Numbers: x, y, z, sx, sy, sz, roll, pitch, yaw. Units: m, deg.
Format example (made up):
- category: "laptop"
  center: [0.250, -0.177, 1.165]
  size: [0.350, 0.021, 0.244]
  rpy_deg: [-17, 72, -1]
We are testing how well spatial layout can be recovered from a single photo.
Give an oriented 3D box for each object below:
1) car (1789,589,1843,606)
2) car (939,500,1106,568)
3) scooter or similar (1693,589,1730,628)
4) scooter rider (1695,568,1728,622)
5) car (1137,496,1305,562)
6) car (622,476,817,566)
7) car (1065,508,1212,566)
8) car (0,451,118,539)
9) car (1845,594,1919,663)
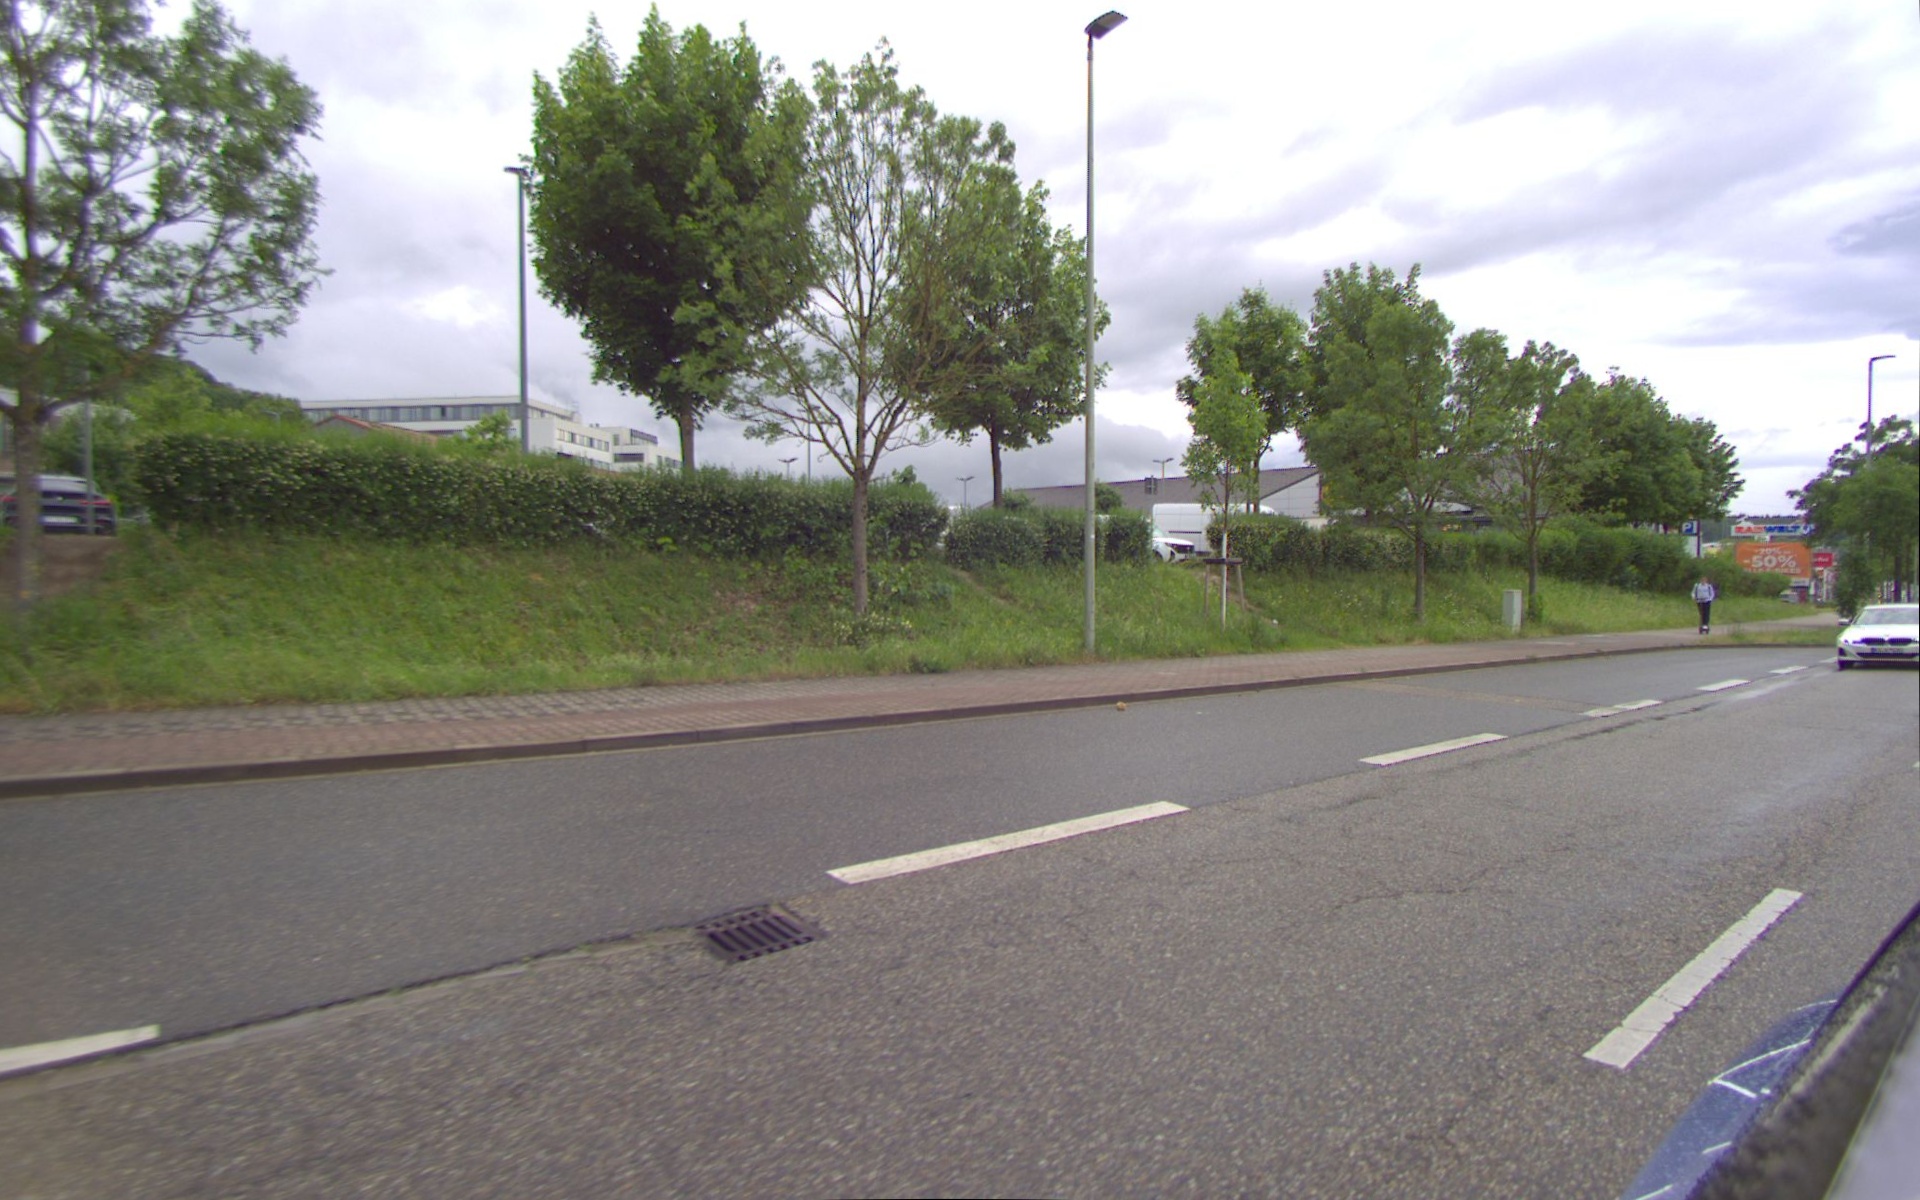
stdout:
- category: "car"
  center: [104.428, -0.315, 123.503]
  size: [1.890, 1.620, 4.672]
  rpy_deg: [1, 4, -37]
- category: "car"
  center: [1.635, -1.824, 27.672]
  size: [4.350, 1.648, 1.898]
  rpy_deg: [6, 5, 44]
- category: "scooter or similar"
  center: [26.159, 0.292, 35.222]
  size: [1.377, 1.279, 0.696]
  rpy_deg: [-1, 3, -42]
- category: "scooter rider"
  center: [26.069, -0.190, 35.116]
  size: [0.843, 1.842, 0.696]
  rpy_deg: [-1, 3, -42]
- category: "car"
  center: [9.513, -2.648, 37.310]
  size: [5.608, 2.167, 2.090]
  rpy_deg: [6, 5, 42]
- category: "car"
  center: [-5.069, -1.662, 20.972]
  size: [4.350, 1.648, 1.898]
  rpy_deg: [6, 5, 44]
- category: "car"
  center: [5.727, -2.069, 32.852]
  size: [4.350, 1.648, 1.898]
  rpy_deg: [6, 5, 44]
- category: "car"
  center: [-19.906, -2.280, 22.185]
  size: [1.923, 1.699, 3.992]
  rpy_deg: [-1, 5, -44]
- category: "car"
  center: [21.986, 0.601, 23.267]
  size: [4.461, 1.459, 1.807]
  rpy_deg: [0, -1, -40]
